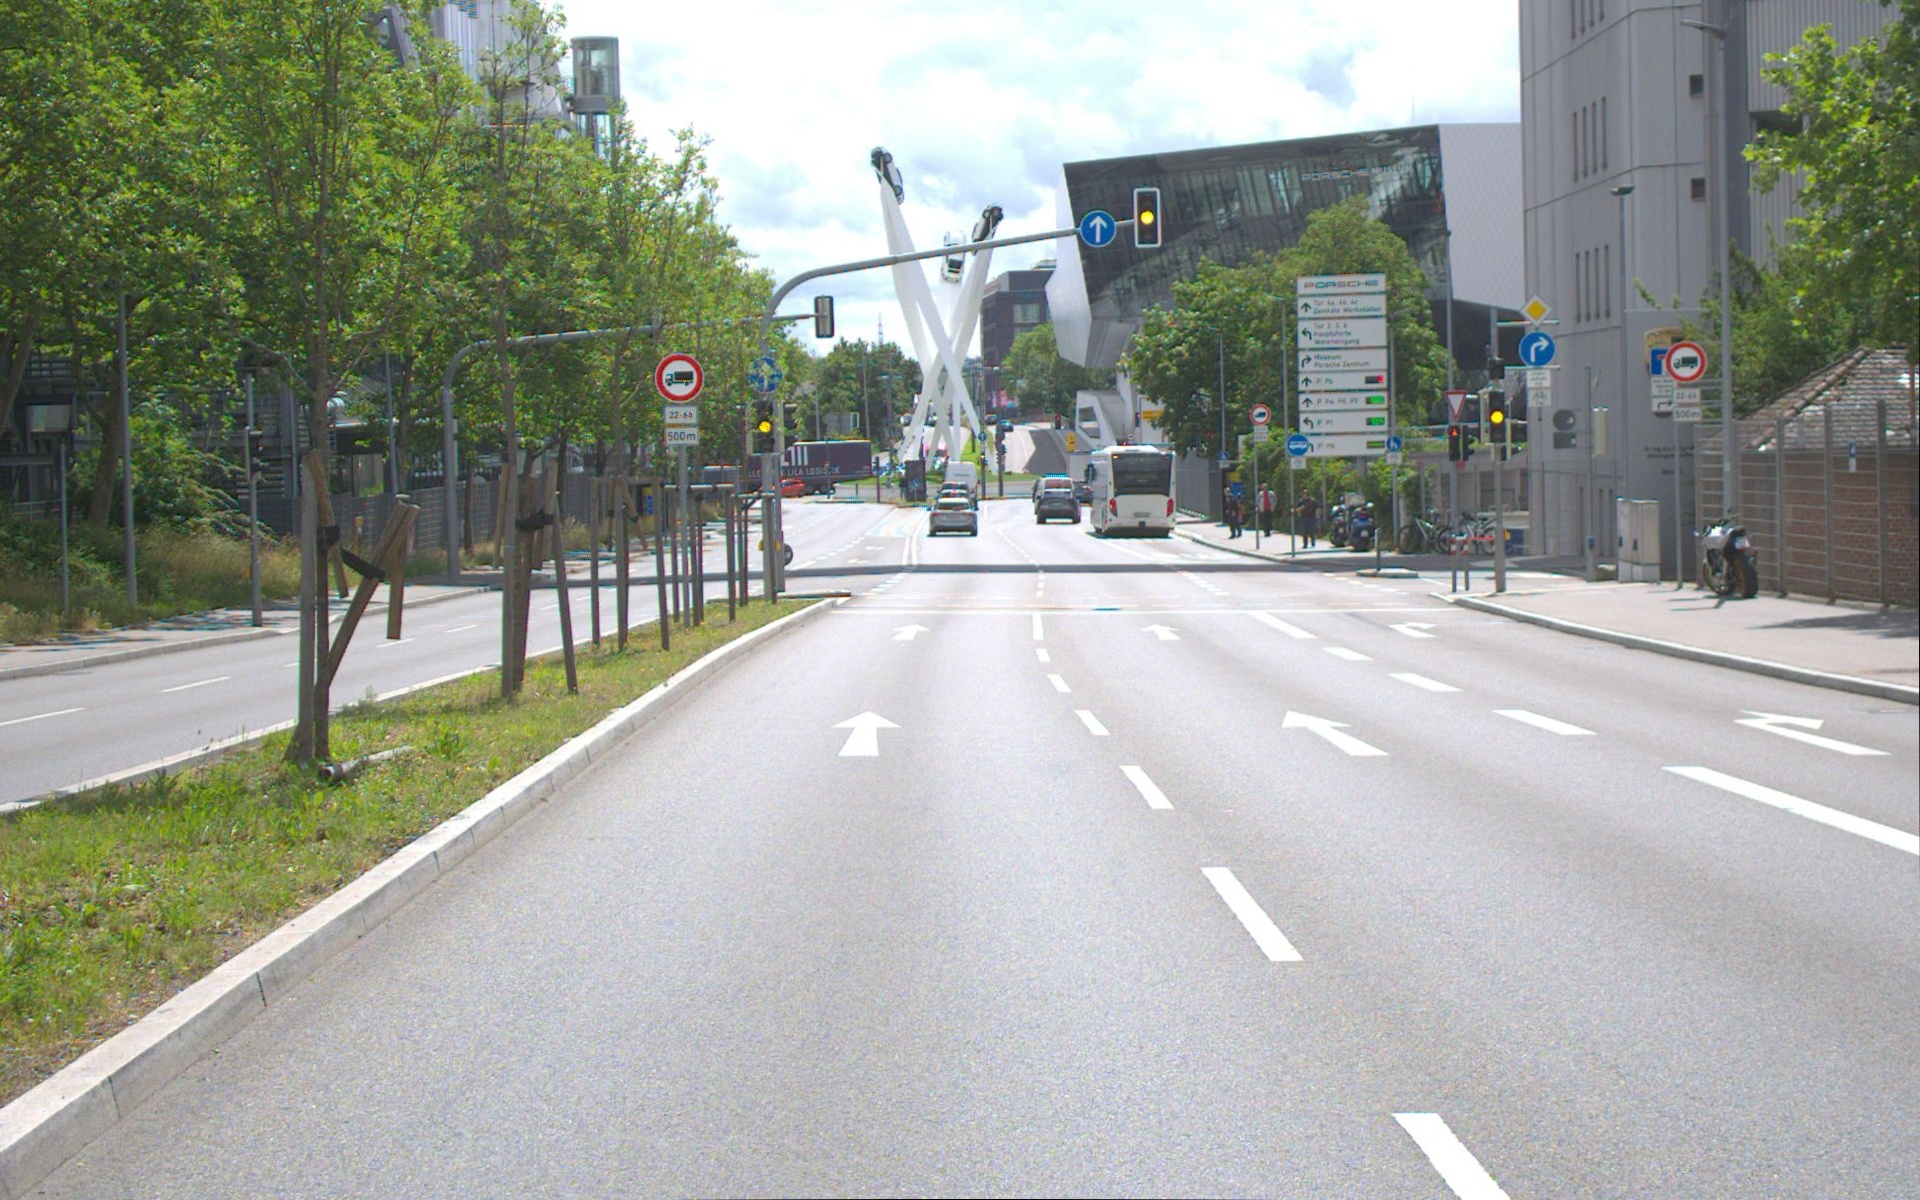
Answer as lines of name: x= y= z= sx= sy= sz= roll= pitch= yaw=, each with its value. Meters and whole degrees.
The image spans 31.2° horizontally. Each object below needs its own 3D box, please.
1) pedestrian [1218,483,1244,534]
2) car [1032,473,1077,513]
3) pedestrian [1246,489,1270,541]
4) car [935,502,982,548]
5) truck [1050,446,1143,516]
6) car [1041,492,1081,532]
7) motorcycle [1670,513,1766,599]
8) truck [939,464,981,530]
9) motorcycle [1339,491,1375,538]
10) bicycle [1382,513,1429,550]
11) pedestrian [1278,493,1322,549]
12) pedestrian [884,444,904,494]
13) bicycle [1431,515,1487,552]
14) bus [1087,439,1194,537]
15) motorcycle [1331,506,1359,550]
pedestrian: x=9.092 y=-3.062 z=115.364 sx=0.820 sy=1.701 sz=0.881 roll=0 pitch=1 yaw=1
car: x=4.982 y=-5.644 z=181.897 sx=1.993 sy=2.007 sz=4.001 roll=1 pitch=0 yaw=-4
pedestrian: x=9.907 y=-2.825 z=114.278 sx=0.635 sy=1.735 sz=0.823 roll=0 pitch=1 yaw=-7
car: x=-0.044 y=-2.876 z=131.233 sx=1.738 sy=1.735 sz=3.691 roll=0 pitch=1 yaw=1
truck: x=8.746 y=-7.536 z=218.842 sx=3.455 sy=4.376 sz=9.412 roll=0 pitch=2 yaw=18
car: x=4.518 y=-3.949 z=154.244 sx=1.738 sy=1.735 sz=3.691 roll=0 pitch=1 yaw=1
motorcycle: x=10.631 y=-0.629 z=48.286 sx=0.692 sy=1.154 sz=2.148 roll=-2 pitch=2 yaw=-4
truck: x=0.022 y=-6.137 z=205.632 sx=2.392 sy=3.884 sz=6.177 roll=0 pitch=1 yaw=1
motorcycle: x=10.623 y=-2.306 z=92.055 sx=0.706 sy=1.199 sz=2.024 roll=-2 pitch=2 yaw=1
bicycle: x=11.444 y=-1.762 z=88.402 sx=0.397 sy=0.933 sz=1.929 roll=-1 pitch=2 yaw=-18
pedestrian: x=9.785 y=-2.273 z=98.901 sx=0.849 sy=1.619 sz=0.954 roll=1 pitch=2 yaw=42
pedestrian: x=-4.771 y=-9.499 z=249.659 sx=1.416 sy=3.588 sz=1.283 roll=0 pitch=1 yaw=0
bicycle: x=12.484 y=-1.669 z=86.112 sx=0.397 sy=0.933 sz=1.929 roll=-1 pitch=2 yaw=-25
bus: x=6.752 y=-4.220 z=130.374 sx=3.452 sy=3.531 sz=10.607 roll=0 pitch=1 yaw=0
motorcycle: x=11.203 y=-2.103 z=100.189 sx=0.574 sy=1.199 sz=2.024 roll=-2 pitch=2 yaw=1
